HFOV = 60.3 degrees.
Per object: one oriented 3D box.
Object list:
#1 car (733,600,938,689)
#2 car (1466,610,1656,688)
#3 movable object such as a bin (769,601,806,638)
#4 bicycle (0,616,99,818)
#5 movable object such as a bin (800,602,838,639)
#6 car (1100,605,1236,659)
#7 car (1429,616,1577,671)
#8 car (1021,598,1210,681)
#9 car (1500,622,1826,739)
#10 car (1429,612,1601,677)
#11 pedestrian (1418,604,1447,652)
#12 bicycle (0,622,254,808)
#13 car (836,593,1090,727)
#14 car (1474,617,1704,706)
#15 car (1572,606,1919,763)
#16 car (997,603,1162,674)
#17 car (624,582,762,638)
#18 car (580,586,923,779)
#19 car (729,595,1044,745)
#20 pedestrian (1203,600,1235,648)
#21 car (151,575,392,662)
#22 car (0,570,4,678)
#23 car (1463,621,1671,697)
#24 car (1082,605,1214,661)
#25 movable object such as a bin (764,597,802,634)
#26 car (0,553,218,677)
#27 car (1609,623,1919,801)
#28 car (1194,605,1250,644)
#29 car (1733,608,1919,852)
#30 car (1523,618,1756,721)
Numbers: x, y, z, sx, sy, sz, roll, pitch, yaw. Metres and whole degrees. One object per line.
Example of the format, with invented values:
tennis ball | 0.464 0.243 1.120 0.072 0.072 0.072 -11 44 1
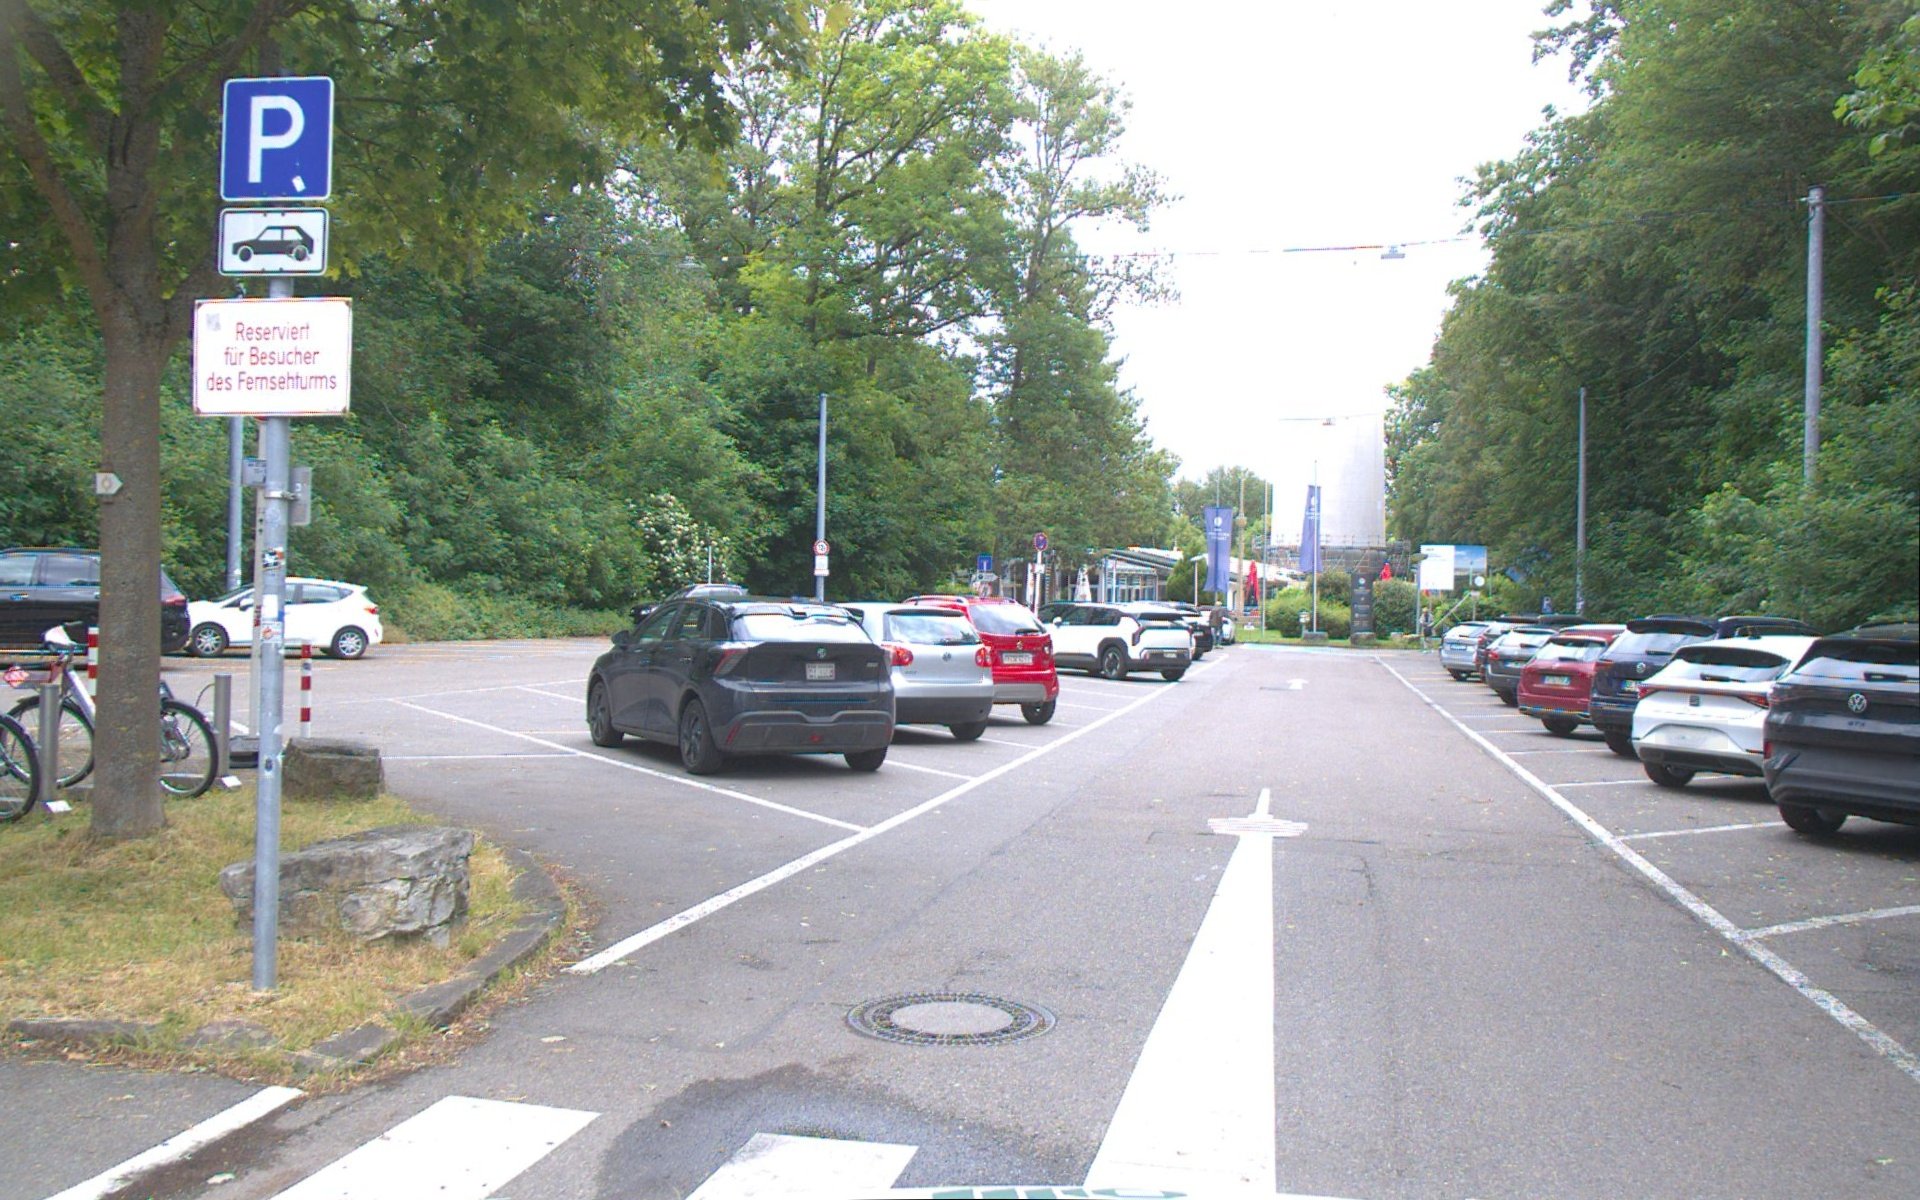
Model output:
car | -2.354 0.771 30.324 1.848 1.467 4.264 1 0 -35
car | 13.811 1.113 37.954 4.208 1.665 1.944 2 0 -32
movable object such as a bin | -6.288 0.708 60.218 1.105 1.338 1.179 1 0 -17
bicycle | -6.010 0.657 9.865 1.644 1.131 0.483 2 -1 16
movable object such as a bin | -5.182 0.742 60.624 1.150 1.330 1.307 1 0 -17
car | 6.200 0.942 49.709 1.738 1.468 4.229 2 0 -33
car | 15.764 1.268 47.973 4.149 1.488 1.879 2 0 -32
car | 3.276 0.807 35.591 1.825 1.624 4.140 1 0 -34
car | 9.717 1.092 22.824 4.233 1.438 1.910 2 0 -28
car | 13.717 1.093 40.858 3.941 1.492 1.818 1 0 -28
pedestrian | 17.697 1.053 61.921 0.748 1.755 0.894 1 0 34
bicycle | -5.621 0.738 11.016 1.745 1.131 0.483 2 -1 16
car | -0.033 0.749 22.312 1.667 1.613 3.610 2 0 -35
car | 11.445 1.094 30.022 4.133 1.483 1.785 1 0 -32
car | 9.352 0.963 19.487 4.061 1.646 1.824 2 0 -29
car | 2.865 0.911 40.285 1.854 1.581 3.945 1 0 -38
car | -8.695 0.321 53.876 4.017 1.714 1.860 2 0 -31
car | -2.099 0.676 15.597 1.805 1.550 4.060 2 0 -29
car | -0.959 0.744 19.275 1.855 1.509 3.952 2 0 -34
pedestrian | 9.576 0.882 61.110 0.883 1.755 0.758 2 0 -26
car | -12.973 0.354 31.201 3.948 1.537 1.850 1 0 -32
car | -14.610 0.247 21.270 3.948 1.400 1.721 2 -1 -32
car | 12.462 1.193 33.883 4.212 1.401 1.942 2 0 -35
car | 5.267 0.914 46.841 1.749 1.468 3.805 2 0 -31
movable object such as a bin | -6.659 0.579 62.194 1.099 1.343 1.241 1 0 8
car | -13.917 0.213 25.062 4.647 1.798 2.089 1 0 -32
car | 8.343 1.014 15.794 4.061 1.464 1.852 2 0 -29
car | 10.456 0.968 65.883 1.853 1.453 4.003 1 0 14
car | 7.954 0.935 12.563 4.153 1.608 1.935 2 0 -34
car | 11.003 1.099 26.753 3.533 1.531 1.718 1 0 -30
